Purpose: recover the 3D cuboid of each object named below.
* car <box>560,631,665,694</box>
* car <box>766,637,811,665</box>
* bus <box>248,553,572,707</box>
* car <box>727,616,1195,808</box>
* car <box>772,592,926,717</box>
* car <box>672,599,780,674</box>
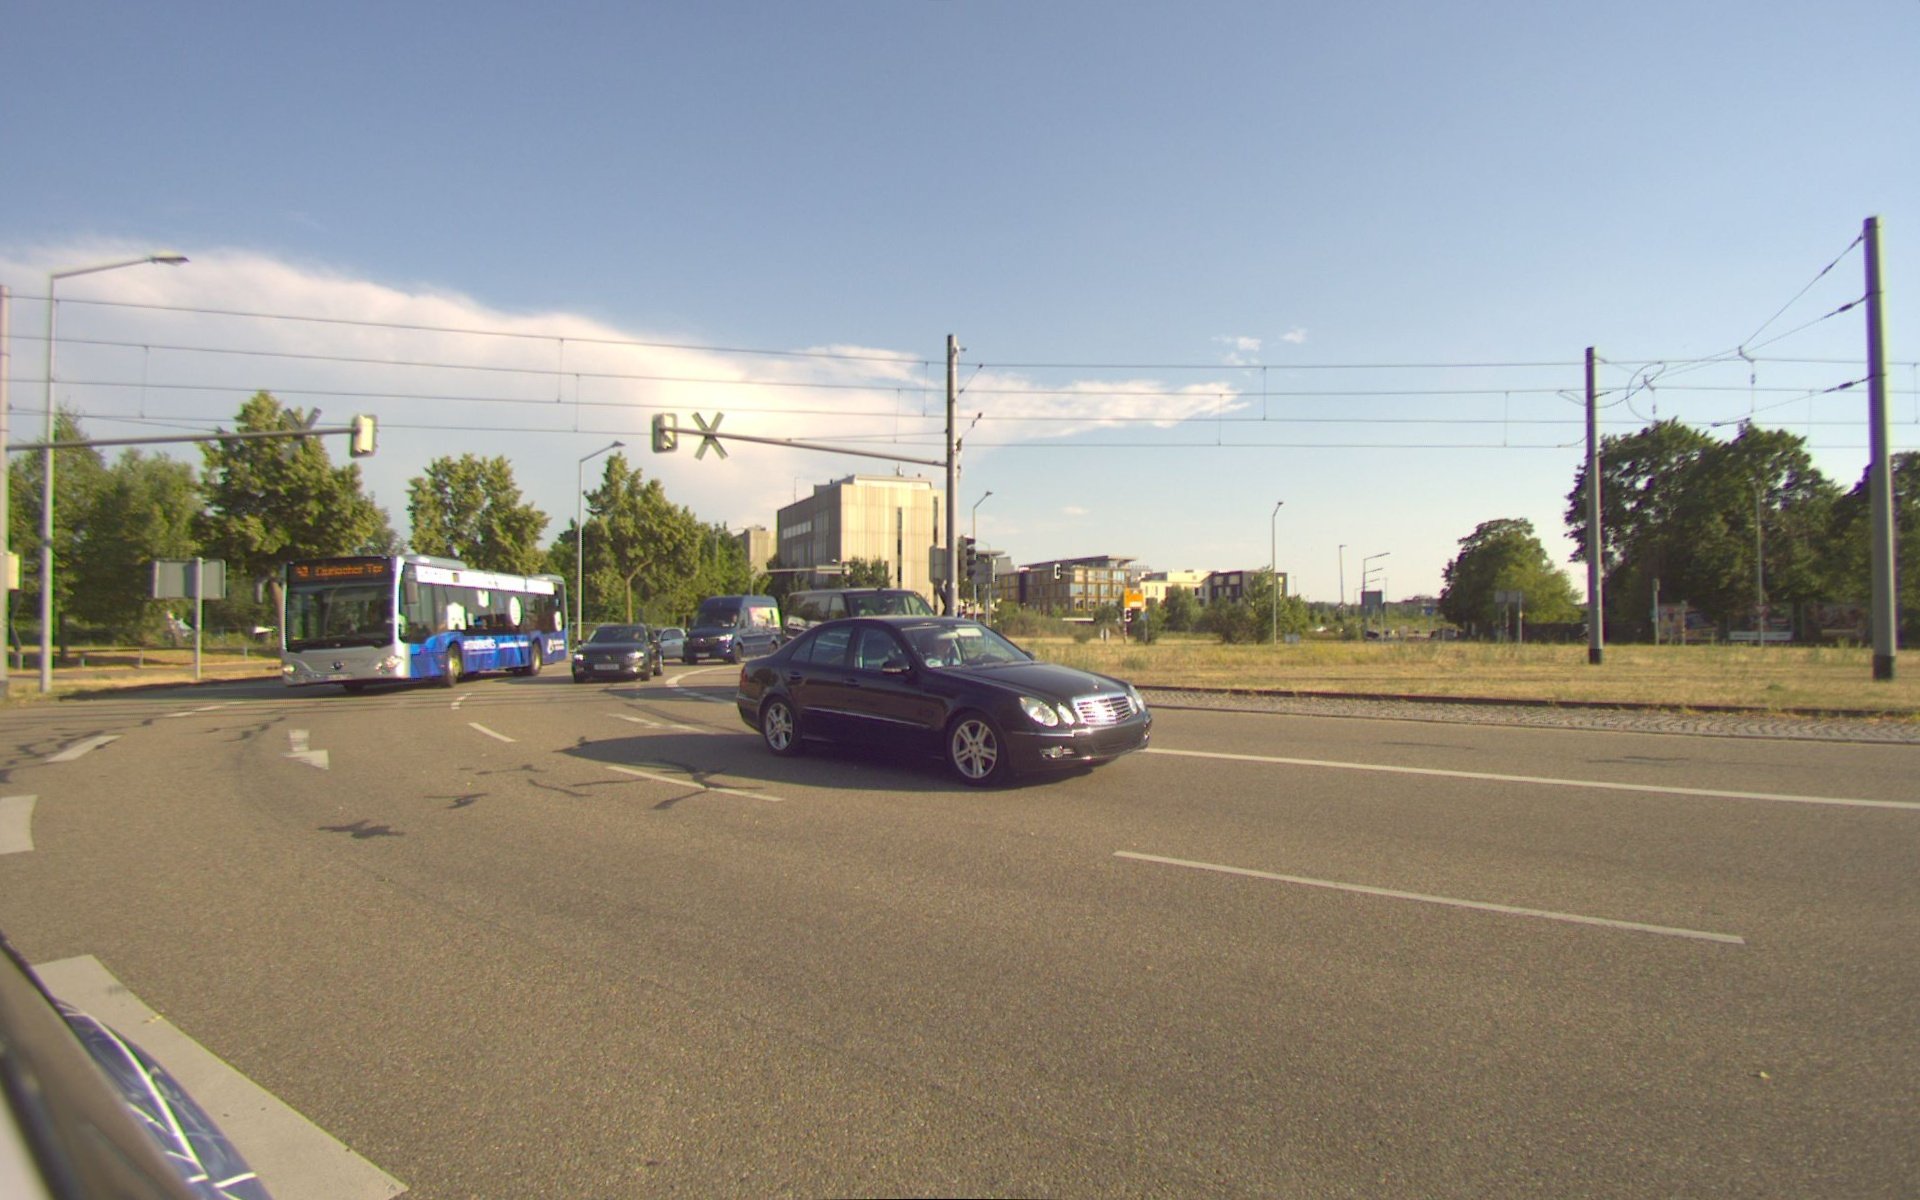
[{"bbox_3d":[-8.735,1.527,25.787,1.782,1.447,4.395,0,-2,-8],"label":"car"},{"bbox_3d":[-9.617,2.836,57.021,1.660,1.529,3.996,0,-2,2],"label":"car"},{"bbox_3d":[-13.407,0.781,26.497,2.626,3.085,12.188,0,-2,-4],"label":"bus"},{"bbox_3d":[-0.236,0.914,9.829,1.815,1.417,4.705,3,-3,-43],"label":"car"},{"bbox_3d":[-2.317,0.984,19.547,2.059,2.063,5.259,0,-2,-16],"label":"car"},{"bbox_3d":[-8.768,1.414,38.482,1.979,2.614,5.466,-2,-3,11],"label":"car"}]
